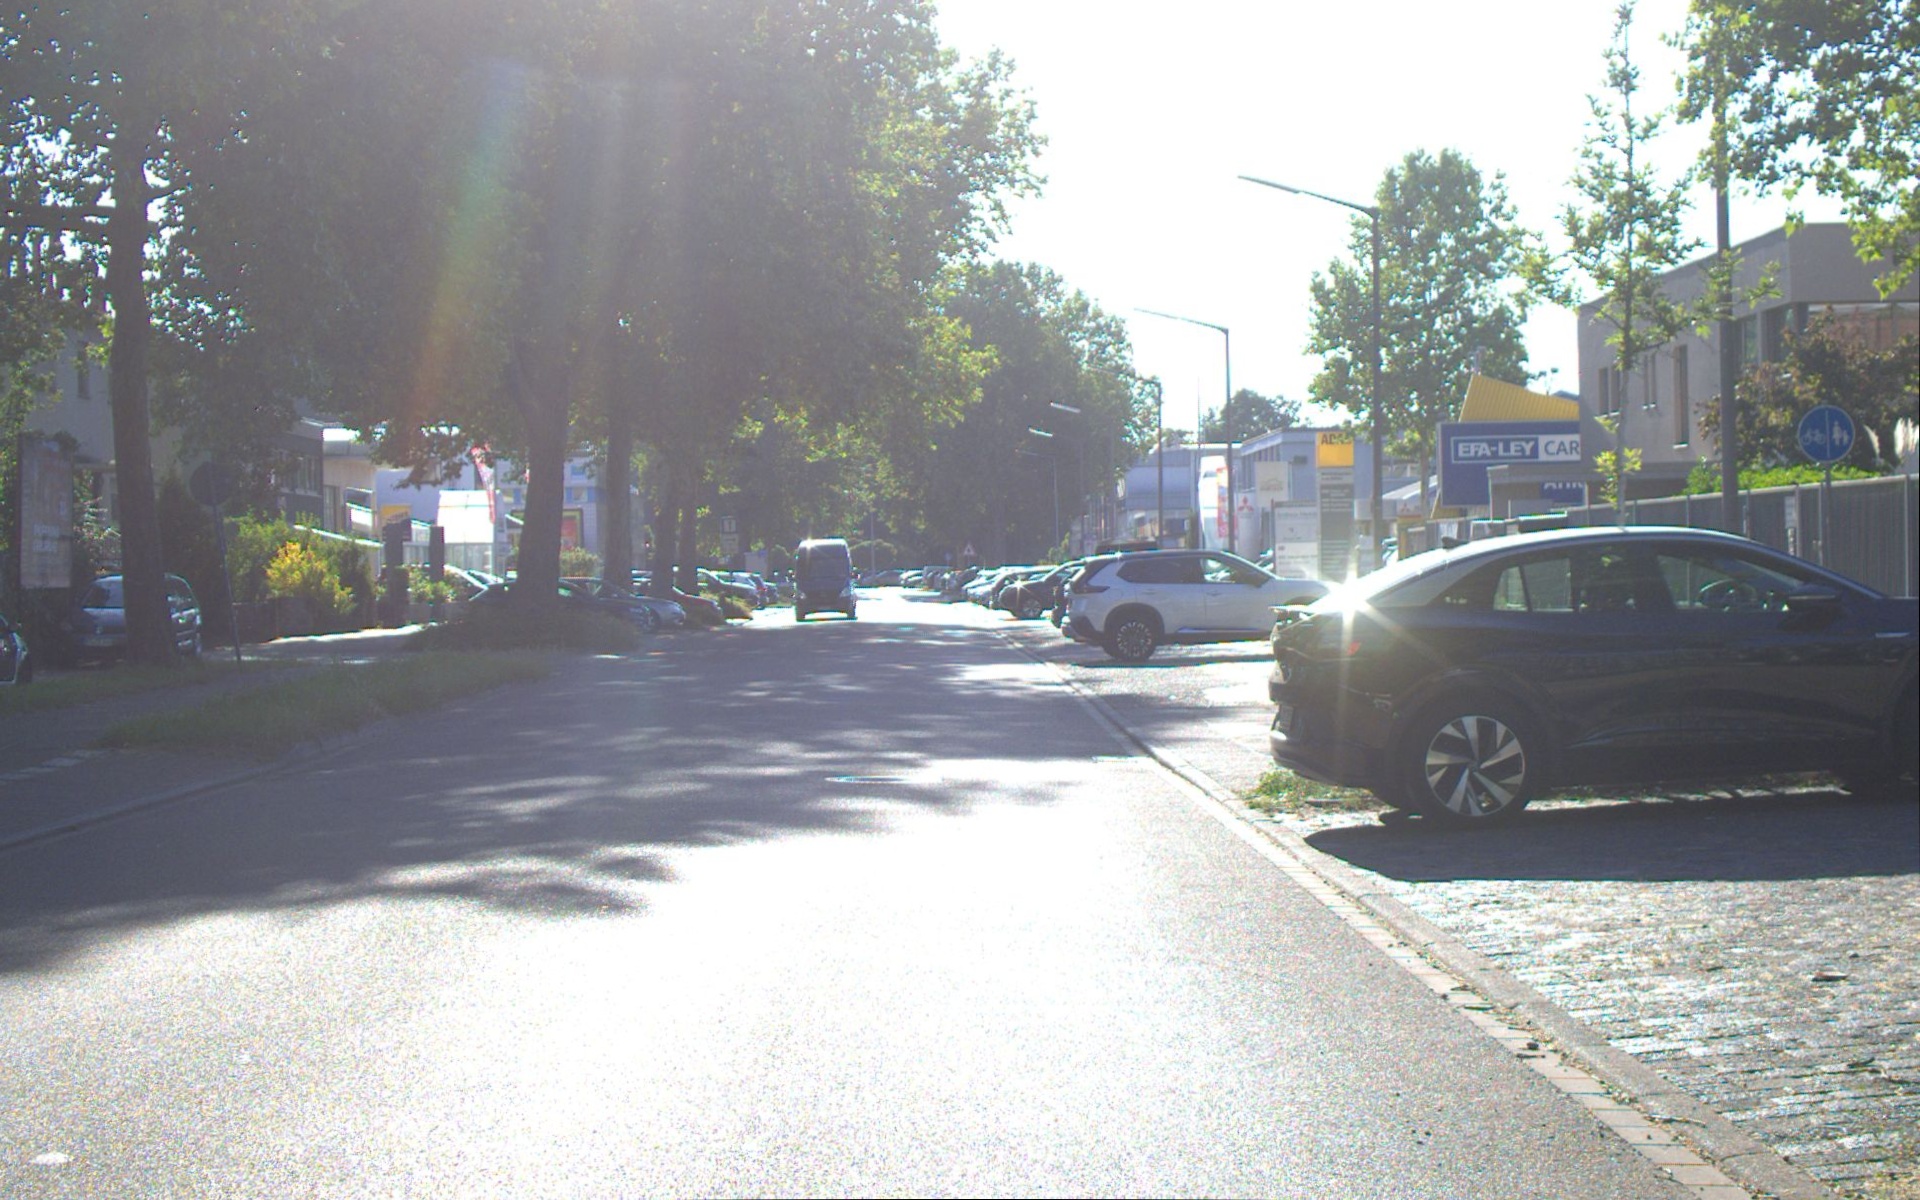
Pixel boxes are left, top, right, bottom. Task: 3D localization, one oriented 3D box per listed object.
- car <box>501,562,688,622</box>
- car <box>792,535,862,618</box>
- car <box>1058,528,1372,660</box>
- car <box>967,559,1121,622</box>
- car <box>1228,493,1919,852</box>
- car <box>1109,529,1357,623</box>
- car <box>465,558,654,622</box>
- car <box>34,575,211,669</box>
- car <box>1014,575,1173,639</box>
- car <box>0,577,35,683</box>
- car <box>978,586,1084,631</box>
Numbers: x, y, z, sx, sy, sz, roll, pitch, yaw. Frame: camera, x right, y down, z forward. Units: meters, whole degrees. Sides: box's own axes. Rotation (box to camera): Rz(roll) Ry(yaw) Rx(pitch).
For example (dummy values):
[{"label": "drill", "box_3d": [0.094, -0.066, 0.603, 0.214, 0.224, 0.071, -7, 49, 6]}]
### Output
[{"label": "car", "box_3d": [-9.341, -0.210, 88.126, 4.599, 1.417, 2.000, -1, 2, -1]}, {"label": "car", "box_3d": [-4.484, -0.842, 116.619, 2.127, 2.650, 7.002, -2, 2, -1]}, {"label": "car", "box_3d": [3.982, -0.106, 54.240, 4.624, 1.706, 2.000, -4, 1, -2]}, {"label": "car", "box_3d": [2.603, -0.293, 107.288, 4.600, 1.607, 2.000, -4, 0, -1]}, {"label": "car", "box_3d": [3.996, 0.349, 19.703, 4.569, 1.710, 1.944, -4, 1, -4]}, {"label": "car", "box_3d": [5.398, -0.482, 68.463, 4.624, 1.521, 2.000, -4, 1, -2]}, {"label": "car", "box_3d": [-9.550, -0.254, 82.202, 4.353, 1.417, 2.000, -1, 1, -3]}, {"label": "car", "box_3d": [-14.588, 0.350, 60.114, 1.993, 1.570, 4.273, 0, 0, 1]}, {"label": "car", "box_3d": [3.980, 0.196, 102.674, 4.601, 1.574, 2.000, -4, 0, 2]}, {"label": "car", "box_3d": [-13.466, 0.485, 44.762, 1.993, 1.365, 3.921, -5, 1, -5]}, {"label": "car", "box_3d": [2.824, 0.344, 137.024, 3.986, 1.582, 1.868, -3, 1, -4]}]
